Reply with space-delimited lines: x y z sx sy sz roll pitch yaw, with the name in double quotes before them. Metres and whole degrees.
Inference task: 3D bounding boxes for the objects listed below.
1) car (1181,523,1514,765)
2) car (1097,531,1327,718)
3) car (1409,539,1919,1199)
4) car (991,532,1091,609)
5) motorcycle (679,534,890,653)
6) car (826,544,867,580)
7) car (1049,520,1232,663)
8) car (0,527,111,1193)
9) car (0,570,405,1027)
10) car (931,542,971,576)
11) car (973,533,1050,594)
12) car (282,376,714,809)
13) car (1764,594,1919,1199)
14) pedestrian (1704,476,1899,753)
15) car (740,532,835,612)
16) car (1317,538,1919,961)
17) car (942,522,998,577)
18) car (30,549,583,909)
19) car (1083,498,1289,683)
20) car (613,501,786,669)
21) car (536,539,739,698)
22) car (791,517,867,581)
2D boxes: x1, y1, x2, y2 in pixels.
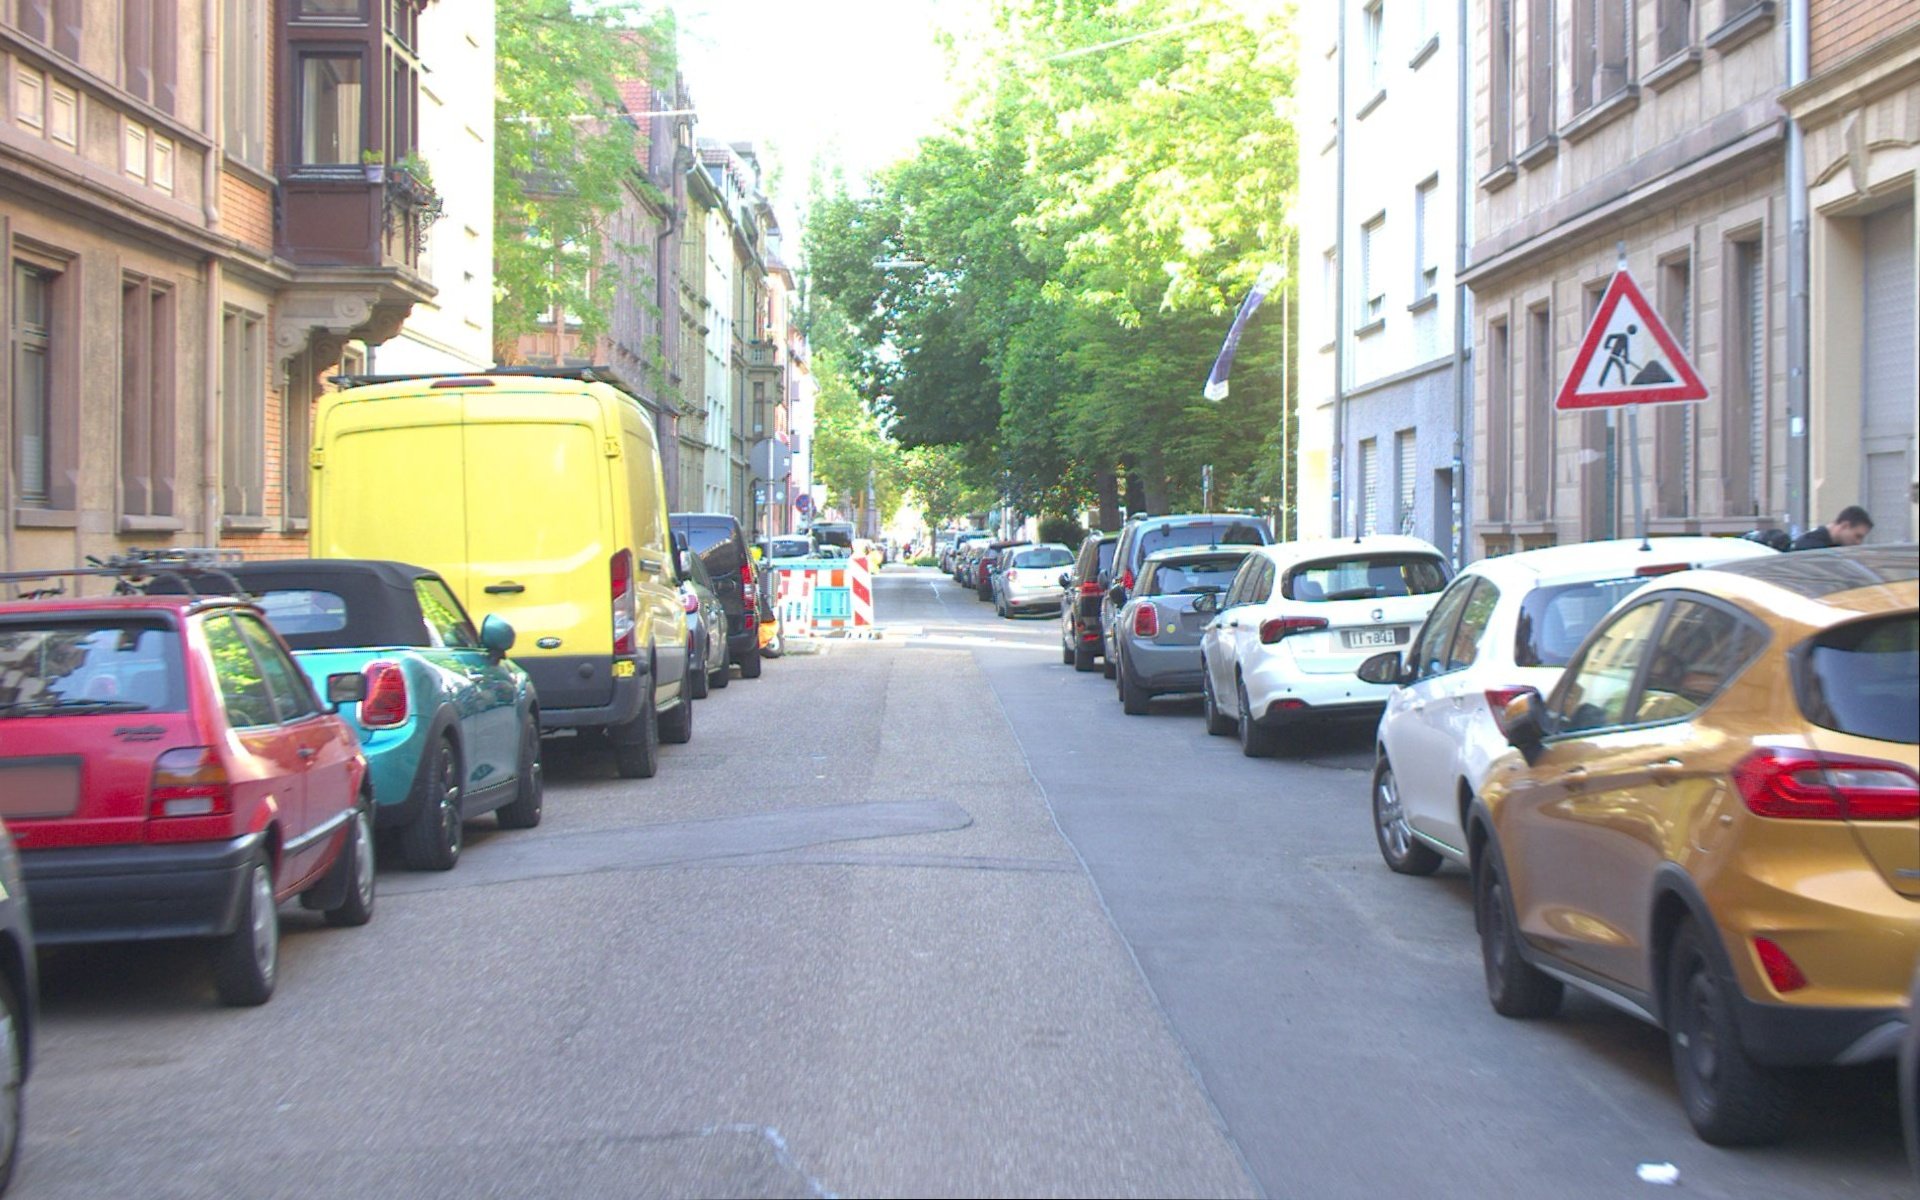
"car" 2.786 0.249 25.658 1.753 1.513 4.444 -4 2 -2
"car" 2.240 0.167 31.544 1.754 1.448 4.288 -4 2 1
"car" 2.572 0.592 10.046 1.753 1.441 4.069 -3 1 -2
"car" 1.643 -0.637 71.076 1.723 1.517 4.001 -1 1 -3
"motorcycle" -2.225 -0.089 43.623 2.511 1.477 0.904 0 1 -27
"car" -5.479 -1.840 165.404 1.950 1.703 4.000 0 1 -2
"car" 2.133 -0.121 41.648 1.900 1.634 4.391 0 1 -1
"car" -2.988 0.636 6.634 1.694 1.469 3.919 -3 1 -1
"car" -3.073 0.612 12.291 1.618 1.322 3.613 -3 1 -1
"car" -0.494 -2.176 180.327 1.993 1.722 4.000 0 1 -1
"car" 1.359 -0.983 92.358 1.894 1.619 4.000 0 1 -1
"car" -2.970 -0.105 23.511 2.175 2.499 5.879 -2 1 -1
"car" 2.703 0.702 5.302 1.725 1.412 4.094 -4 2 -2
"pedestrian" 5.075 0.082 20.739 0.654 1.625 0.880 -2 0 -42
"car" -3.848 -0.632 77.227 1.882 1.701 4.000 -1 1 0
"car" 2.722 0.529 15.018 1.720 1.475 4.083 -4 1 -1
"car" 0.396 -2.106 142.855 2.160 2.248 4.526 0 1 -2
"car" -3.049 0.532 16.846 1.718 1.408 3.897 -5 1 2
"car" 2.362 -0.153 36.977 1.753 1.780 4.724 -3 2 -1
"car" -2.872 -0.196 38.320 1.818 1.760 4.336 0 1 -4
"car" -3.109 0.141 33.698 1.677 1.444 3.645 1 1 -1
"car" -4.359 -1.693 115.203 2.309 2.107 5.170 0 1 0
